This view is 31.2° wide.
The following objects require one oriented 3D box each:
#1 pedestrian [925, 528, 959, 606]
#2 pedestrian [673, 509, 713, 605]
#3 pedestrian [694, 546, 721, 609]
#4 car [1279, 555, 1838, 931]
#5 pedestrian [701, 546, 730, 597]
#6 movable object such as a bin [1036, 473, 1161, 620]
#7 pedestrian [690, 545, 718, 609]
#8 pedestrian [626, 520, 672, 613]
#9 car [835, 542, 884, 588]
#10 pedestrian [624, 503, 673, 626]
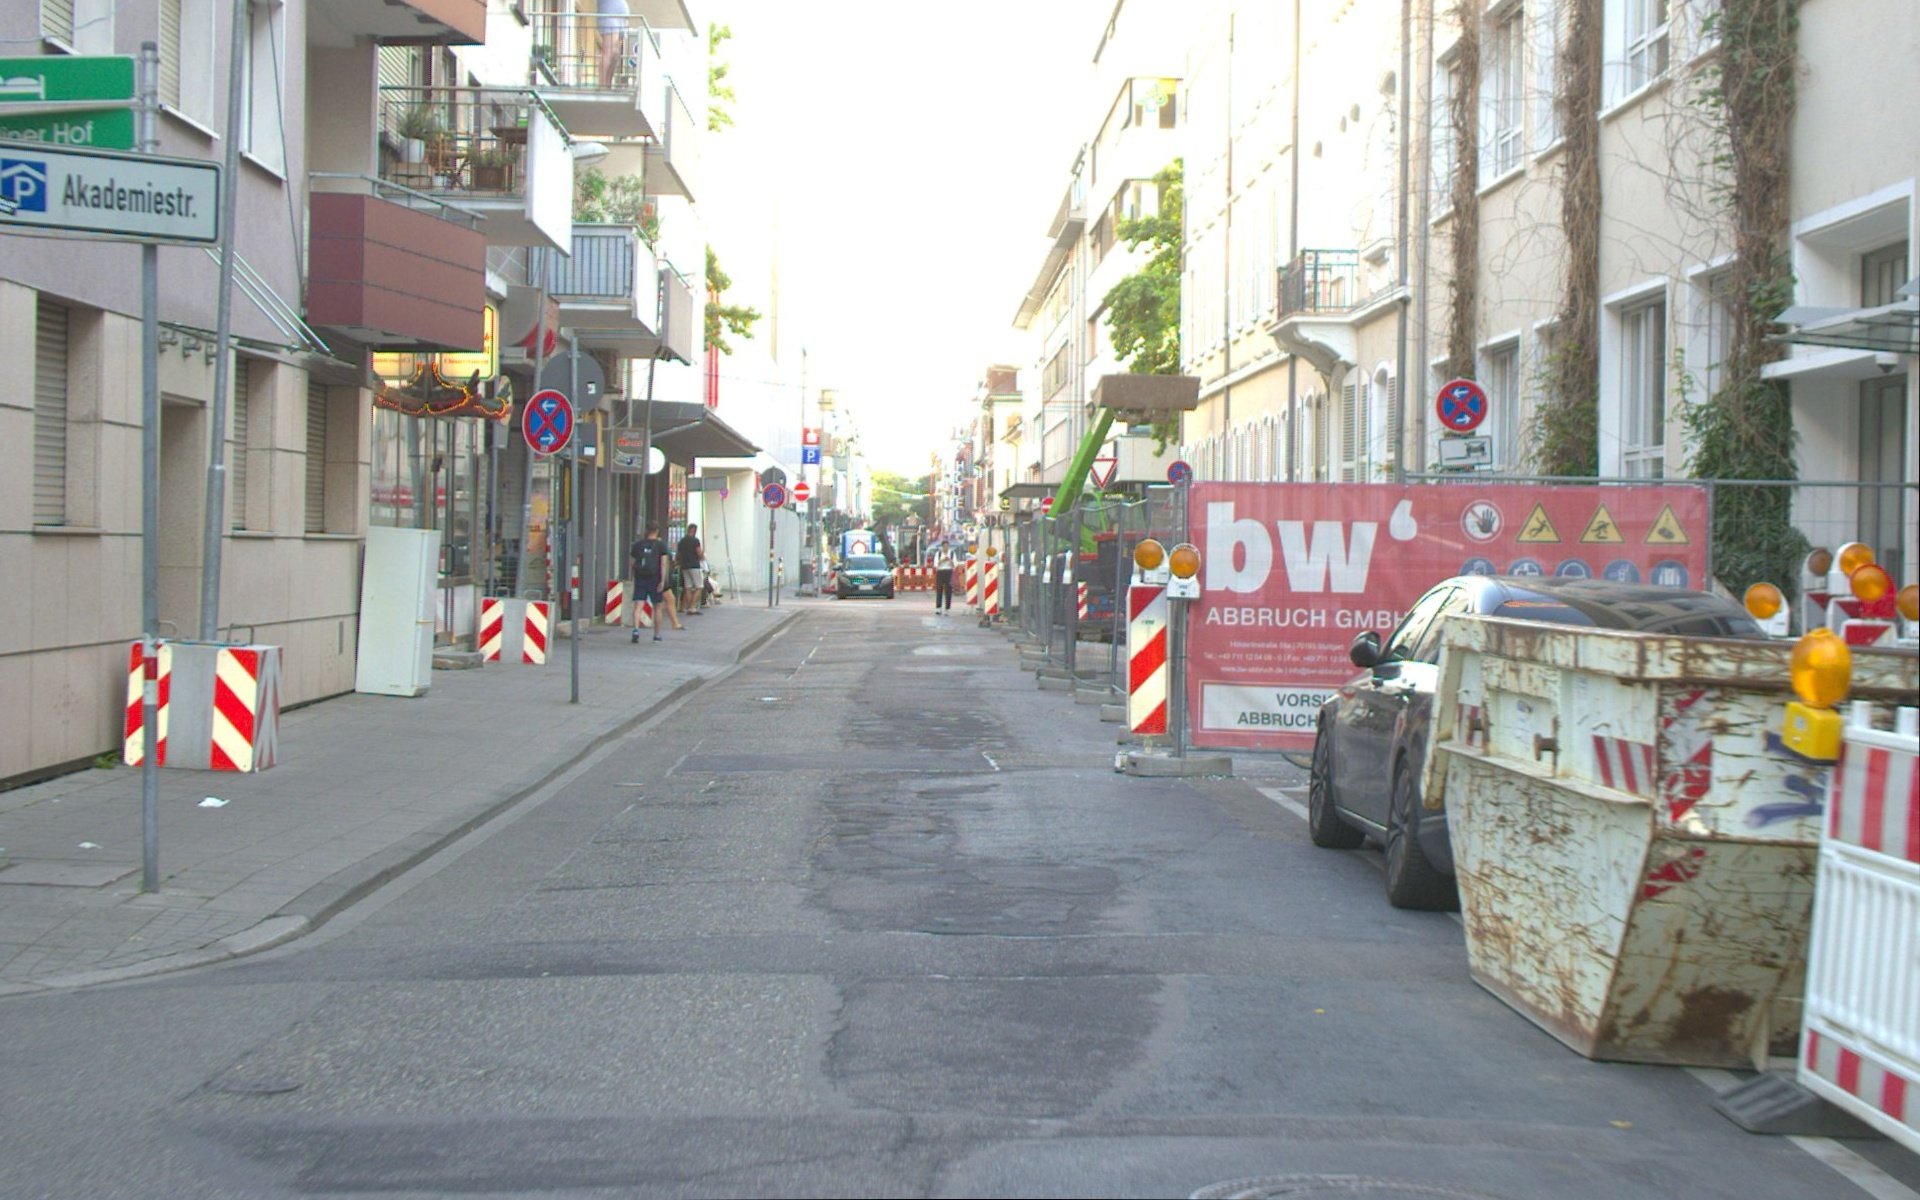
[{"bbox_3d":[-0.408,-0.754,77.361,0.720,1.734,0.647,1,1,-3],"label":"pedestrian"},{"bbox_3d":[-5.268,-0.848,67.873,0.654,1.880,0.574,1,1,9],"label":"pedestrian"},{"bbox_3d":[-5.584,-0.497,76.012,0.542,1.383,0.625,1,1,0],"label":"pedestrian"},{"bbox_3d":[2.576,0.539,15.849,1.693,1.401,4.480,2,1,-1],"label":"car"},{"bbox_3d":[-5.634,-0.660,79.105,0.618,1.168,0.788,1,1,-2],"label":"pedestrian"},{"bbox_3d":[3.057,-1.230,76.934,2.470,3.120,4.298,2,2,-1],"label":"movable object such as a bin"},{"bbox_3d":[-5.578,-0.498,74.891,0.558,1.386,0.893,0,1,-1],"label":"pedestrian"},{"bbox_3d":[-5.267,-0.570,58.197,0.645,1.559,0.631,0,1,-16],"label":"pedestrian"},{"bbox_3d":[-3.164,-1.122,108.345,1.474,1.393,3.332,1,1,-1],"label":"car"},{"bbox_3d":[-4.606,-0.521,50.883,0.629,1.802,0.647,1,1,1],"label":"pedestrian"}]
